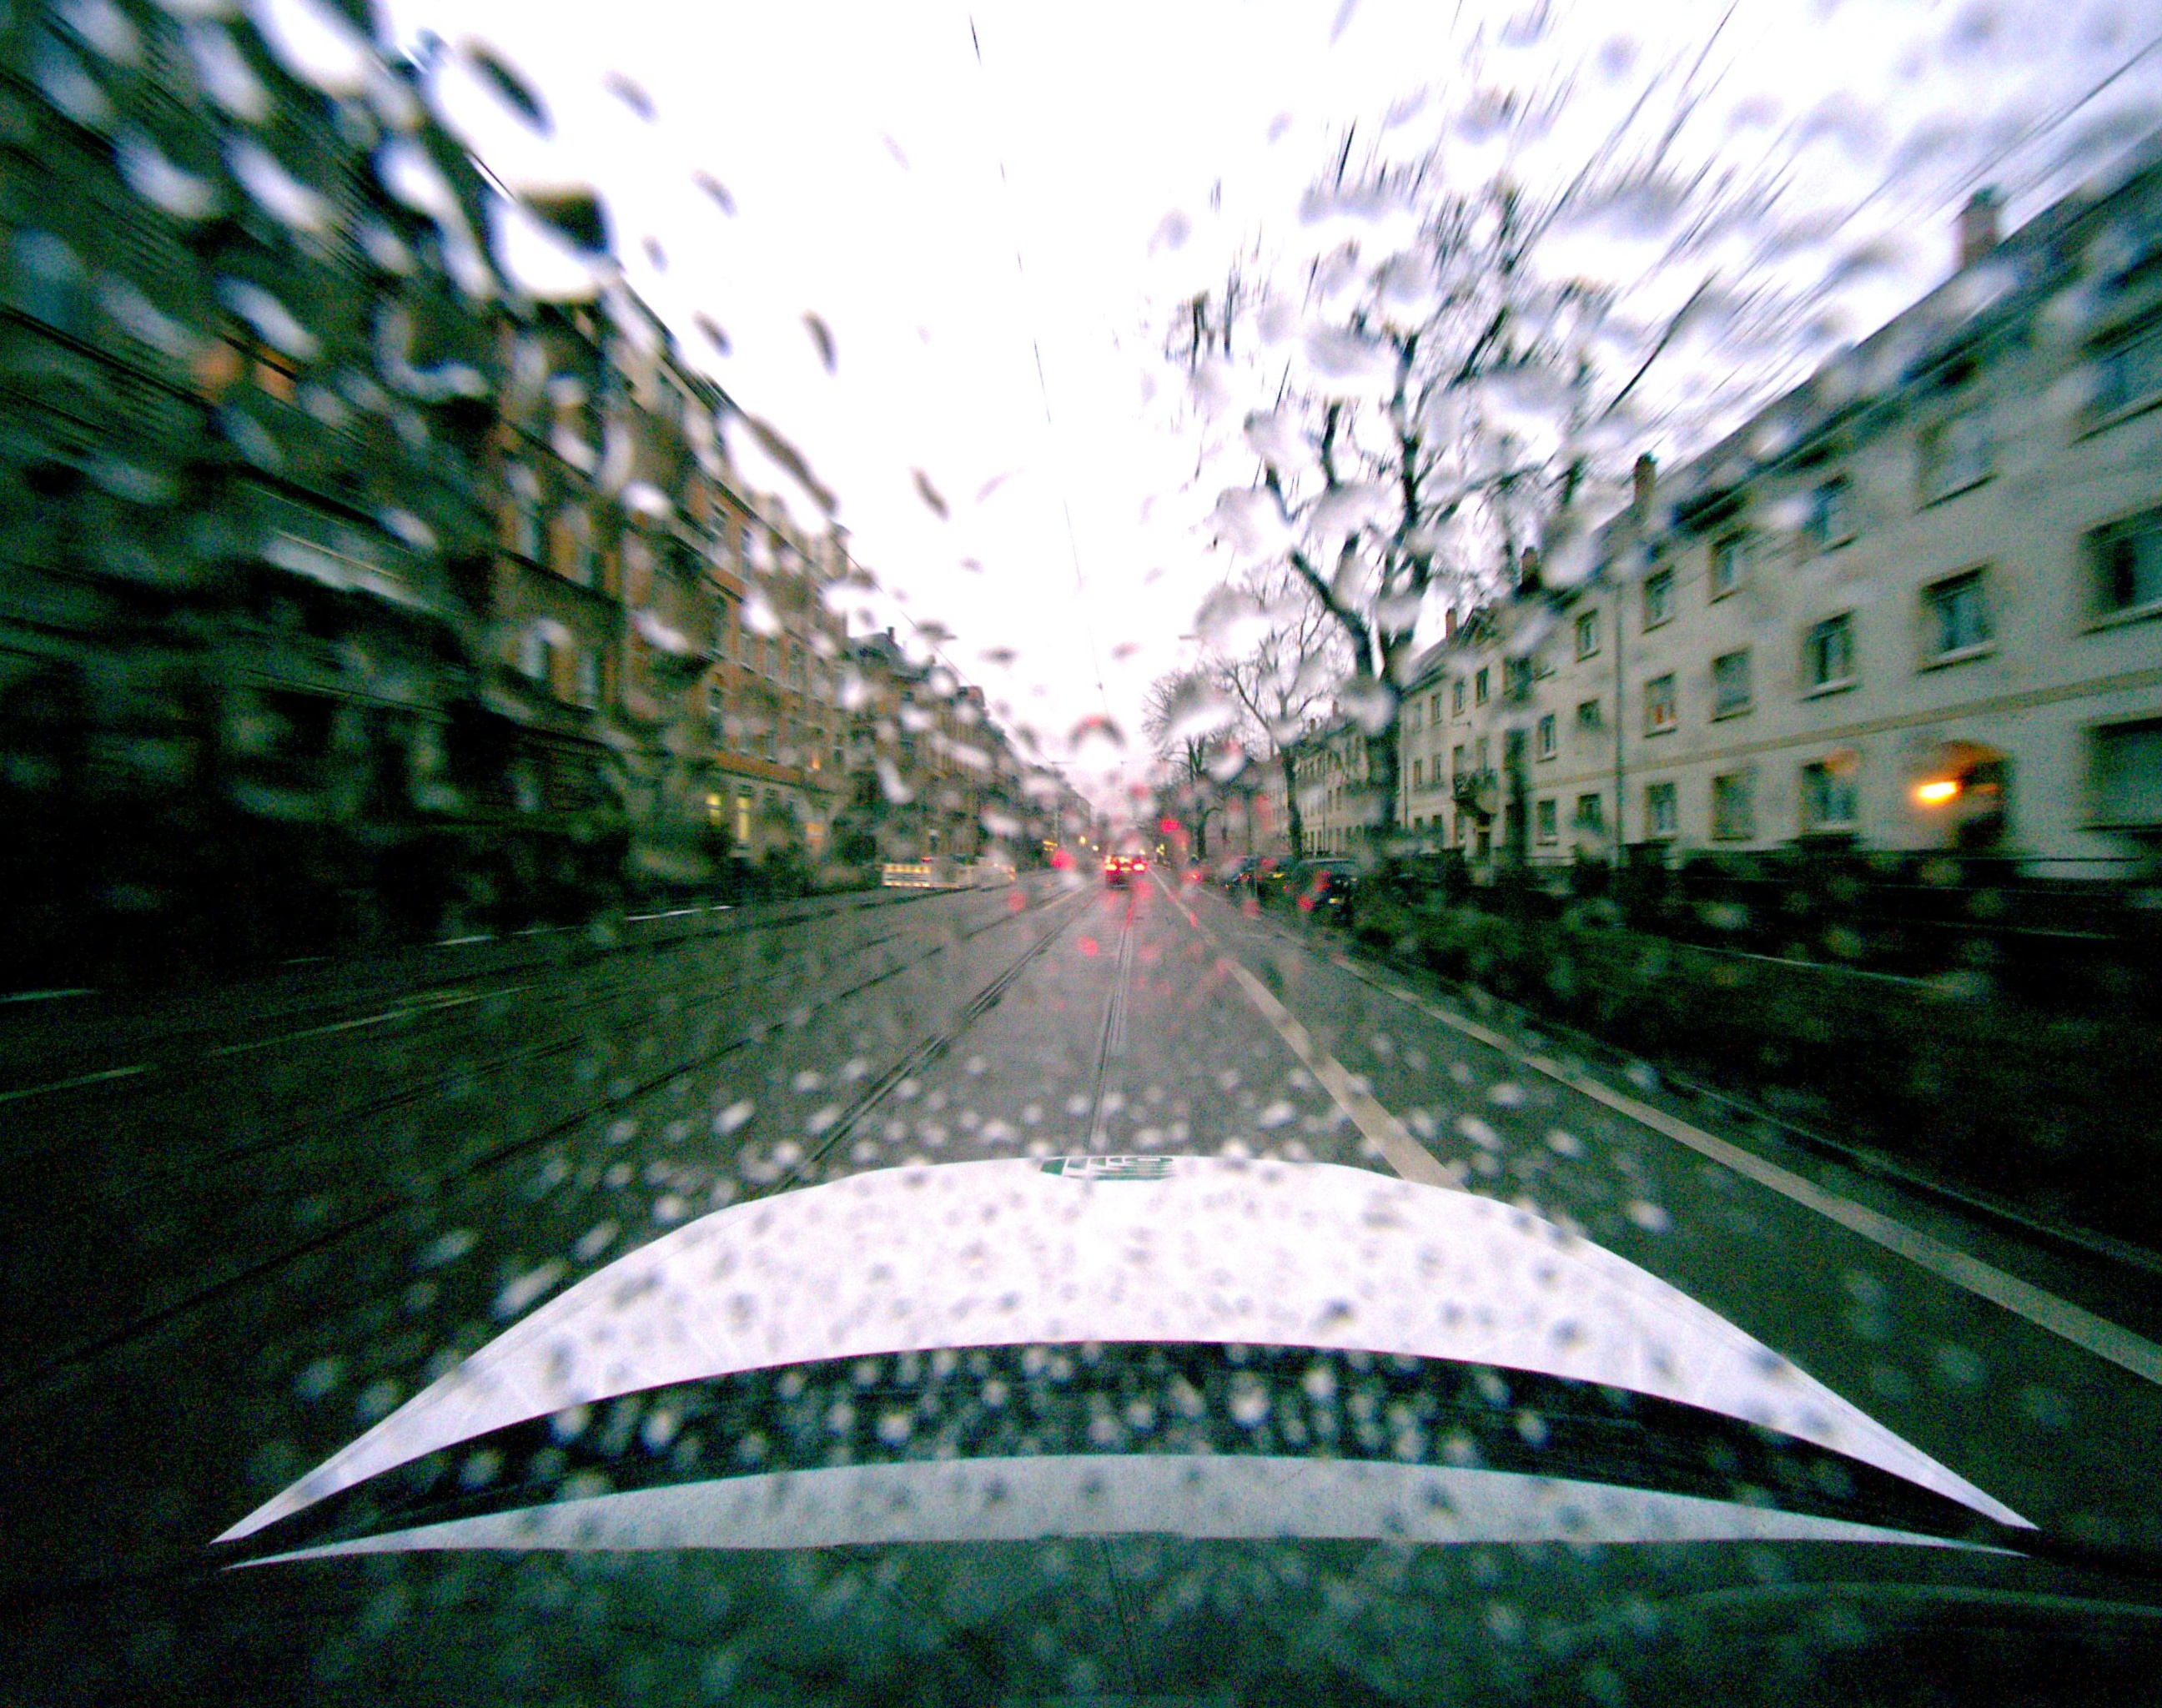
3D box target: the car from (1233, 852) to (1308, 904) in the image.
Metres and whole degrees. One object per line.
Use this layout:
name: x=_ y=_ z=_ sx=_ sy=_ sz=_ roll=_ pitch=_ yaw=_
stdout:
car: x=6.806 y=0.816 z=29.758 sx=1.897 sy=1.727 sz=4.907 roll=0 pitch=0 yaw=3

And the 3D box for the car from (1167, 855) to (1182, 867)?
car: x=12.356 y=0.943 z=107.459 sx=1.777 sy=1.509 sz=4.113 roll=0 pitch=0 yaw=4

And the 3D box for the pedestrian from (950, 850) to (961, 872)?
pedestrian: x=-10.179 y=0.559 z=66.085 sx=0.723 sy=1.773 sz=0.763 roll=0 pitch=-1 yaw=-29

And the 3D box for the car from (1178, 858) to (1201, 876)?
car: x=9.255 y=1.069 z=69.876 sx=1.777 sy=1.509 sz=4.114 roll=0 pitch=0 yaw=5

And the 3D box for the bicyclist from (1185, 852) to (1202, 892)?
bicyclist: x=5.003 y=0.788 z=36.247 sx=0.727 sy=1.736 sz=0.766 roll=0 pitch=-1 yaw=5

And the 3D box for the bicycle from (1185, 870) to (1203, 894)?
bicycle: x=5.008 y=1.234 z=36.237 sx=0.728 sy=1.007 sz=1.766 roll=0 pitch=0 yaw=5

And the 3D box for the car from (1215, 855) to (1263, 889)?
car: x=7.818 y=0.858 z=40.619 sx=1.896 sy=1.610 sz=4.568 roll=0 pitch=0 yaw=5

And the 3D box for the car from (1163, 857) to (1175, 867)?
car: x=13.523 y=1.188 z=125.465 sx=1.777 sy=1.509 sz=4.113 roll=0 pitch=0 yaw=4

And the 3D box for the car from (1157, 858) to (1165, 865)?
car: x=18.044 y=1.716 z=184.401 sx=1.777 sy=1.509 sz=4.113 roll=0 pitch=0 yaw=4

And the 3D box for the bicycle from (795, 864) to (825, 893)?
bicycle: x=-9.258 y=0.826 z=27.893 sx=0.262 sy=0.915 sz=1.687 roll=5 pitch=0 yaw=4

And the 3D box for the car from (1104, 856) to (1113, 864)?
car: x=6.375 y=1.389 z=188.447 sx=1.915 sy=1.720 sz=4.004 roll=0 pitch=0 yaw=4

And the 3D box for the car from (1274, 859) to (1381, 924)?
car: x=6.218 y=0.892 z=20.971 sx=1.778 sy=1.509 sz=3.991 roll=0 pitch=0 yaw=3

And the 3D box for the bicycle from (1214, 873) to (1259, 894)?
bicycle: x=7.080 y=1.363 z=37.107 sx=2.000 sy=0.916 sz=0.466 roll=-1 pitch=0 yaw=12

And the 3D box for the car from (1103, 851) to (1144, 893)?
car: x=2.112 y=0.828 z=39.460 sx=1.794 sy=1.871 sz=4.022 roll=3 pitch=0 yaw=4

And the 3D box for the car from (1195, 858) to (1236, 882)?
car: x=8.474 y=0.966 z=51.558 sx=1.873 sy=1.420 sz=4.343 roll=-2 pitch=0 yaw=0
